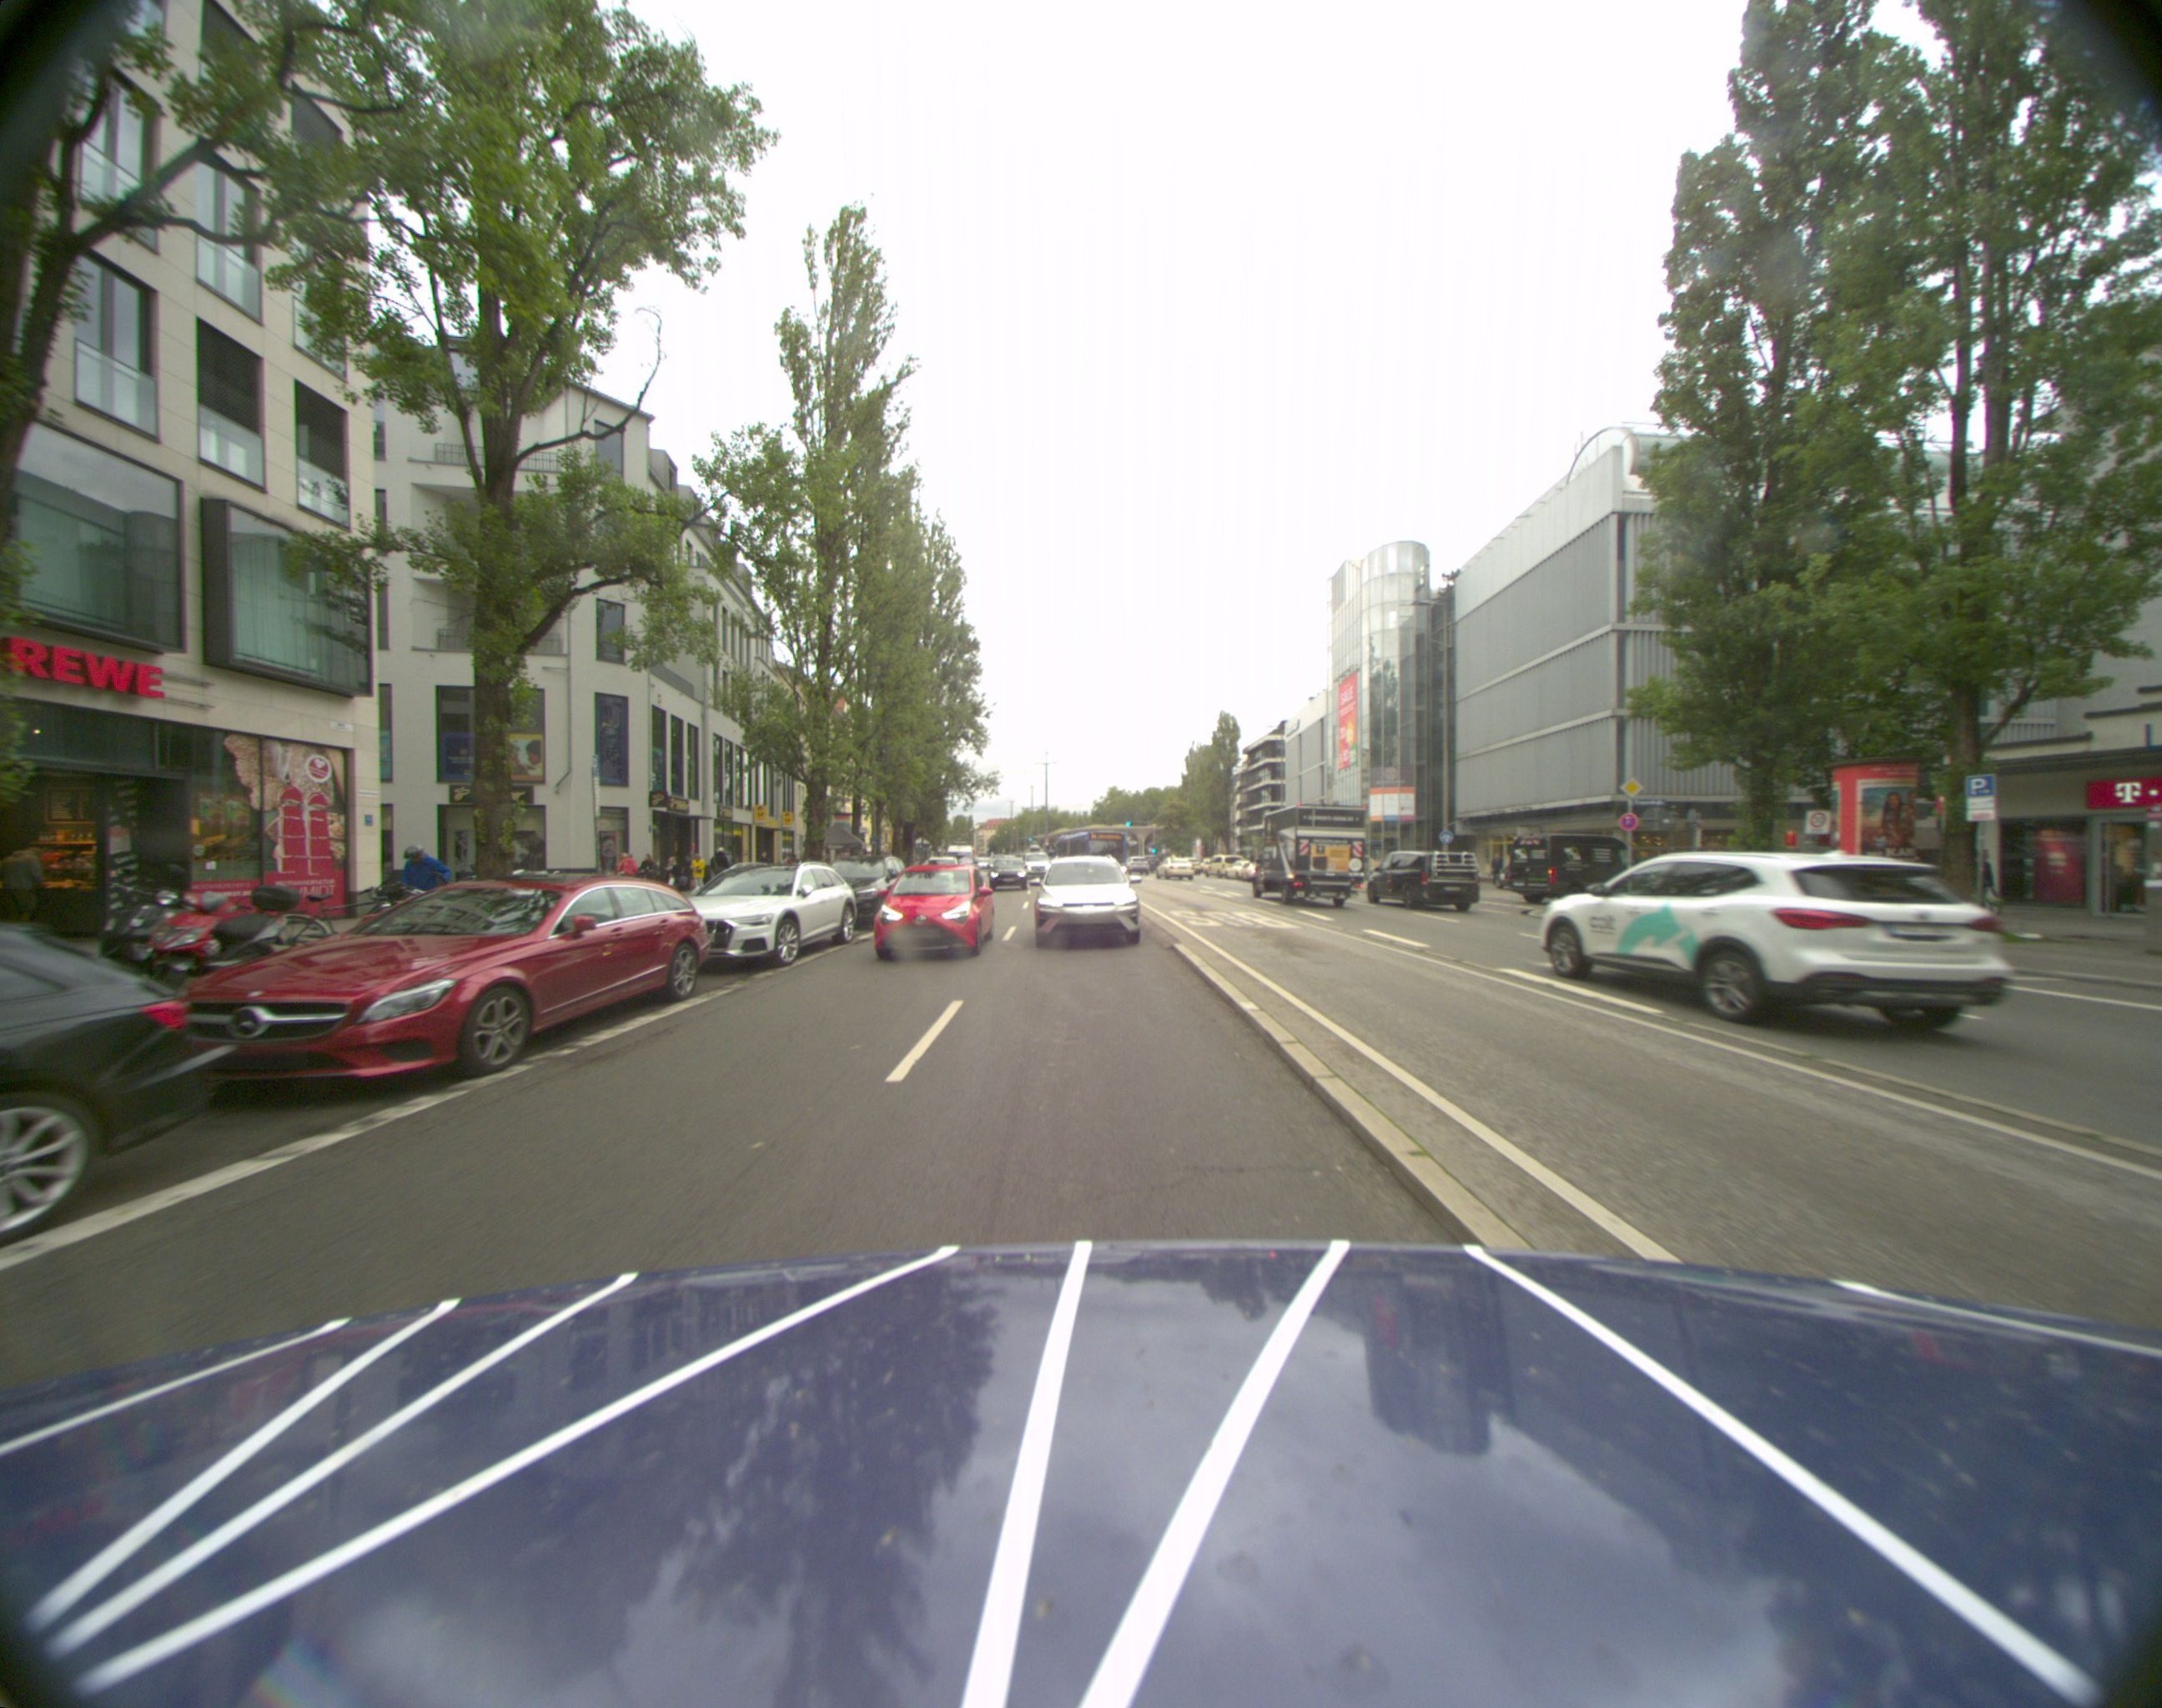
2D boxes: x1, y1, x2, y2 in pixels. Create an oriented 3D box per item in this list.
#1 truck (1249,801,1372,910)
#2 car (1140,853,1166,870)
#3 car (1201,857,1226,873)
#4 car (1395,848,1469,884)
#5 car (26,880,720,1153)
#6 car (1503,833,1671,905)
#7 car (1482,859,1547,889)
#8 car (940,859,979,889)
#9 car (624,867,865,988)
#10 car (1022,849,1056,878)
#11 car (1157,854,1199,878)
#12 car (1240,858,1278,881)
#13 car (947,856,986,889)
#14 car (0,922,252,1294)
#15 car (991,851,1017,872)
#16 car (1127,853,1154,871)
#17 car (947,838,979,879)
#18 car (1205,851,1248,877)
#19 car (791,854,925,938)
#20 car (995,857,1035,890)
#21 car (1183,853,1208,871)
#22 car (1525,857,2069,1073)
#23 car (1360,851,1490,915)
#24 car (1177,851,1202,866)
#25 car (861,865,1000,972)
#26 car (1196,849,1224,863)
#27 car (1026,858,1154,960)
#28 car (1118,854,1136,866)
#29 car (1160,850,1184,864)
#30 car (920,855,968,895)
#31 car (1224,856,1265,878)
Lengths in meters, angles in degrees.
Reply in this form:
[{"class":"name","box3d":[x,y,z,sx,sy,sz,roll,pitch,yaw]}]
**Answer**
[{"class":"truck","box3d":[7.860,0.034,26.995,2.296,3.303,7.157,1,0,1]},{"class":"car","box3d":[7.439,0.773,78.702,2.024,1.706,4.981,0,0,-2]},{"class":"car","box3d":[13.771,1.130,79.164,1.757,1.527,3.999,0,0,-1]},{"class":"car","box3d":[20.403,0.680,44.401,1.998,2.002,5.112,0,0,1]},{"class":"car","box3d":[-5.346,1.049,6.938,1.936,1.441,4.803,0,0,-2]},{"class":"car","box3d":[19.416,0.535,29.151,6.070,2.590,2.173,0,1,-20]},{"class":"car","box3d":[22.428,0.992,39.487,1.924,1.430,4.513,1,0,16]},{"class":"car","box3d":[-6.473,1.028,40.694,1.776,1.425,4.568,-2,0,-6]},{"class":"car","box3d":[-5.151,1.023,12.472,1.815,1.491,4.805,1,0,0]},{"class":"car","box3d":[-3.096,0.644,54.849,2.000,1.889,4.231,-2,1,-9]},{"class":"car","box3d":[6.815,0.820,54.001,1.999,1.579,5.193,2,0,-3]},{"class":"car","box3d":[11.996,1.005,51.458,1.860,1.461,4.984,2,0,6]},{"class":"car","box3d":[-6.879,1.052,46.002,1.935,1.794,4.777,-2,0,-4]},{"class":"car","box3d":[-5.318,1.077,1.784,1.851,1.420,4.425,0,0,1]},{"class":"car","box3d":[-6.746,0.613,66.070,2.000,1.740,3.996,-2,1,-9]},{"class":"car","box3d":[5.449,0.710,69.501,1.915,1.594,4.353,0,0,-3]},{"class":"car","box3d":[-8.397,0.262,54.513,2.000,2.726,5.550,-2,1,-7]},{"class":"car","box3d":[11.993,0.784,63.111,2.000,2.002,5.318,1,0,-6]},{"class":"car","box3d":[-5.322,0.921,18.862,1.930,1.690,4.649,-2,1,0]},{"class":"car","box3d":[-3.251,0.917,36.814,1.741,1.461,4.048,-1,0,-7]},{"class":"car","box3d":[11.243,0.774,74.610,1.890,1.688,4.383,1,0,2]},{"class":"car","box3d":[7.124,0.908,8.439,1.864,1.701,4.537,1,0,3]},{"class":"car","box3d":[11.371,0.858,25.663,1.998,1.852,5.712,2,0,3]},{"class":"car","box3d":[11.414,0.430,80.254,1.951,1.531,4.847,0,0,1]},{"class":"car","box3d":[-2.425,0.987,13.101,1.669,1.438,3.595,-2,1,-1]},{"class":"car","box3d":[14.391,0.229,84.929,1.913,1.558,3.997,0,0,-8]},{"class":"car","box3d":[0.015,0.886,14.107,1.897,1.483,3.997,-2,1,-6]},{"class":"car","box3d":[5.900,0.774,97.858,1.959,1.580,3.999,0,0,-2]},{"class":"car","box3d":[10.475,0.364,87.558,1.592,1.602,4.473,0,0,-9]},{"class":"car","box3d":[-6.252,0.909,35.024,1.732,1.676,4.406,-1,0,-5]},{"class":"car","box3d":[12.353,0.977,57.736,1.983,1.543,5.085,0,0,-1]}]
